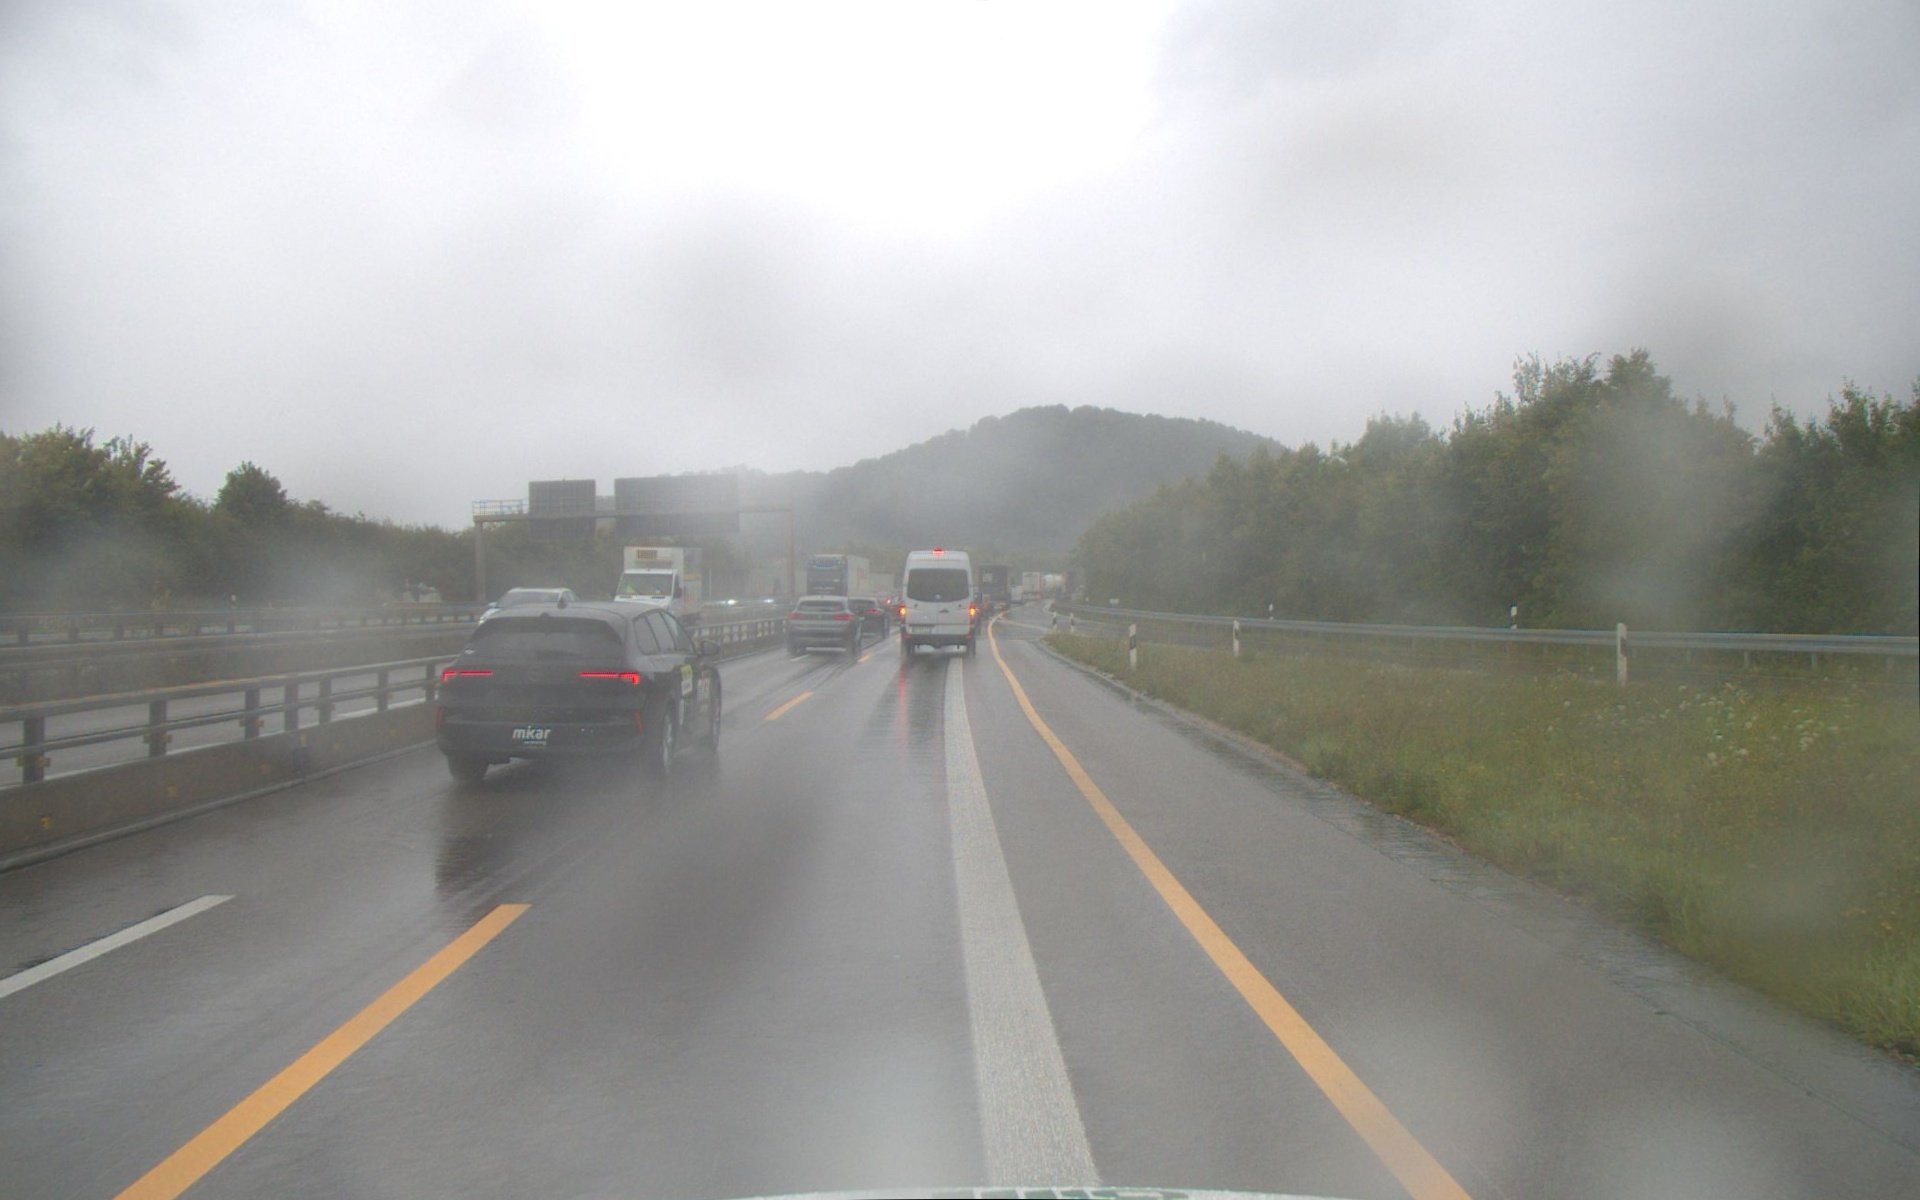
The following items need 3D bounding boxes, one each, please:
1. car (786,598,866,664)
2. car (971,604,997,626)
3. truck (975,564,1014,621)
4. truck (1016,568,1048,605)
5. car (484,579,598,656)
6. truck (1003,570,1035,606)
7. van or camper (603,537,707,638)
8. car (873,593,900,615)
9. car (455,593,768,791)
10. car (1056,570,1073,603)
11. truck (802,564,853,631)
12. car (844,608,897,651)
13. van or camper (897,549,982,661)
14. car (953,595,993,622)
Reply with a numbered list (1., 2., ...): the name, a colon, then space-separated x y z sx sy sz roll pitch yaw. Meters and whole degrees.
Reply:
1. car: -3.541 0.795 44.238 1.829 1.688 3.987 0 0 0
2. car: 1.476 0.910 101.639 1.357 1.278 3.120 0 0 -4
3. truck: 3.022 -0.609 148.281 3.252 4.868 9.906 1 -1 0
4. truck: 9.805 -1.791 224.965 3.845 4.868 9.912 1 -1 5
5. car: -9.980 0.411 39.704 1.603 1.697 4.542 1 -1 -1
6. truck: 6.636 -1.257 186.693 3.252 3.827 9.906 1 -1 0
7. van or camper: -10.088 -0.366 55.258 2.247 3.094 6.697 1 -1 -1
8. car: -3.717 0.225 84.320 1.237 1.097 3.254 0 0 0
9. car: -2.869 0.697 14.706 1.900 1.452 4.758 1 0 -2
10. car: 13.429 -1.708 212.892 2.015 4.265 6.748 0 0 3
11. truck: -8.833 -0.125 110.856 2.829 4.306 6.326 0 -1 1
12. car: -3.279 1.082 61.347 1.815 1.527 3.999 0 0 -1
13. van or camper: -0.518 0.127 43.586 2.096 2.769 4.647 0 0 0
14. car: 0.535 0.359 70.547 1.358 1.097 3.118 0 0 -6
